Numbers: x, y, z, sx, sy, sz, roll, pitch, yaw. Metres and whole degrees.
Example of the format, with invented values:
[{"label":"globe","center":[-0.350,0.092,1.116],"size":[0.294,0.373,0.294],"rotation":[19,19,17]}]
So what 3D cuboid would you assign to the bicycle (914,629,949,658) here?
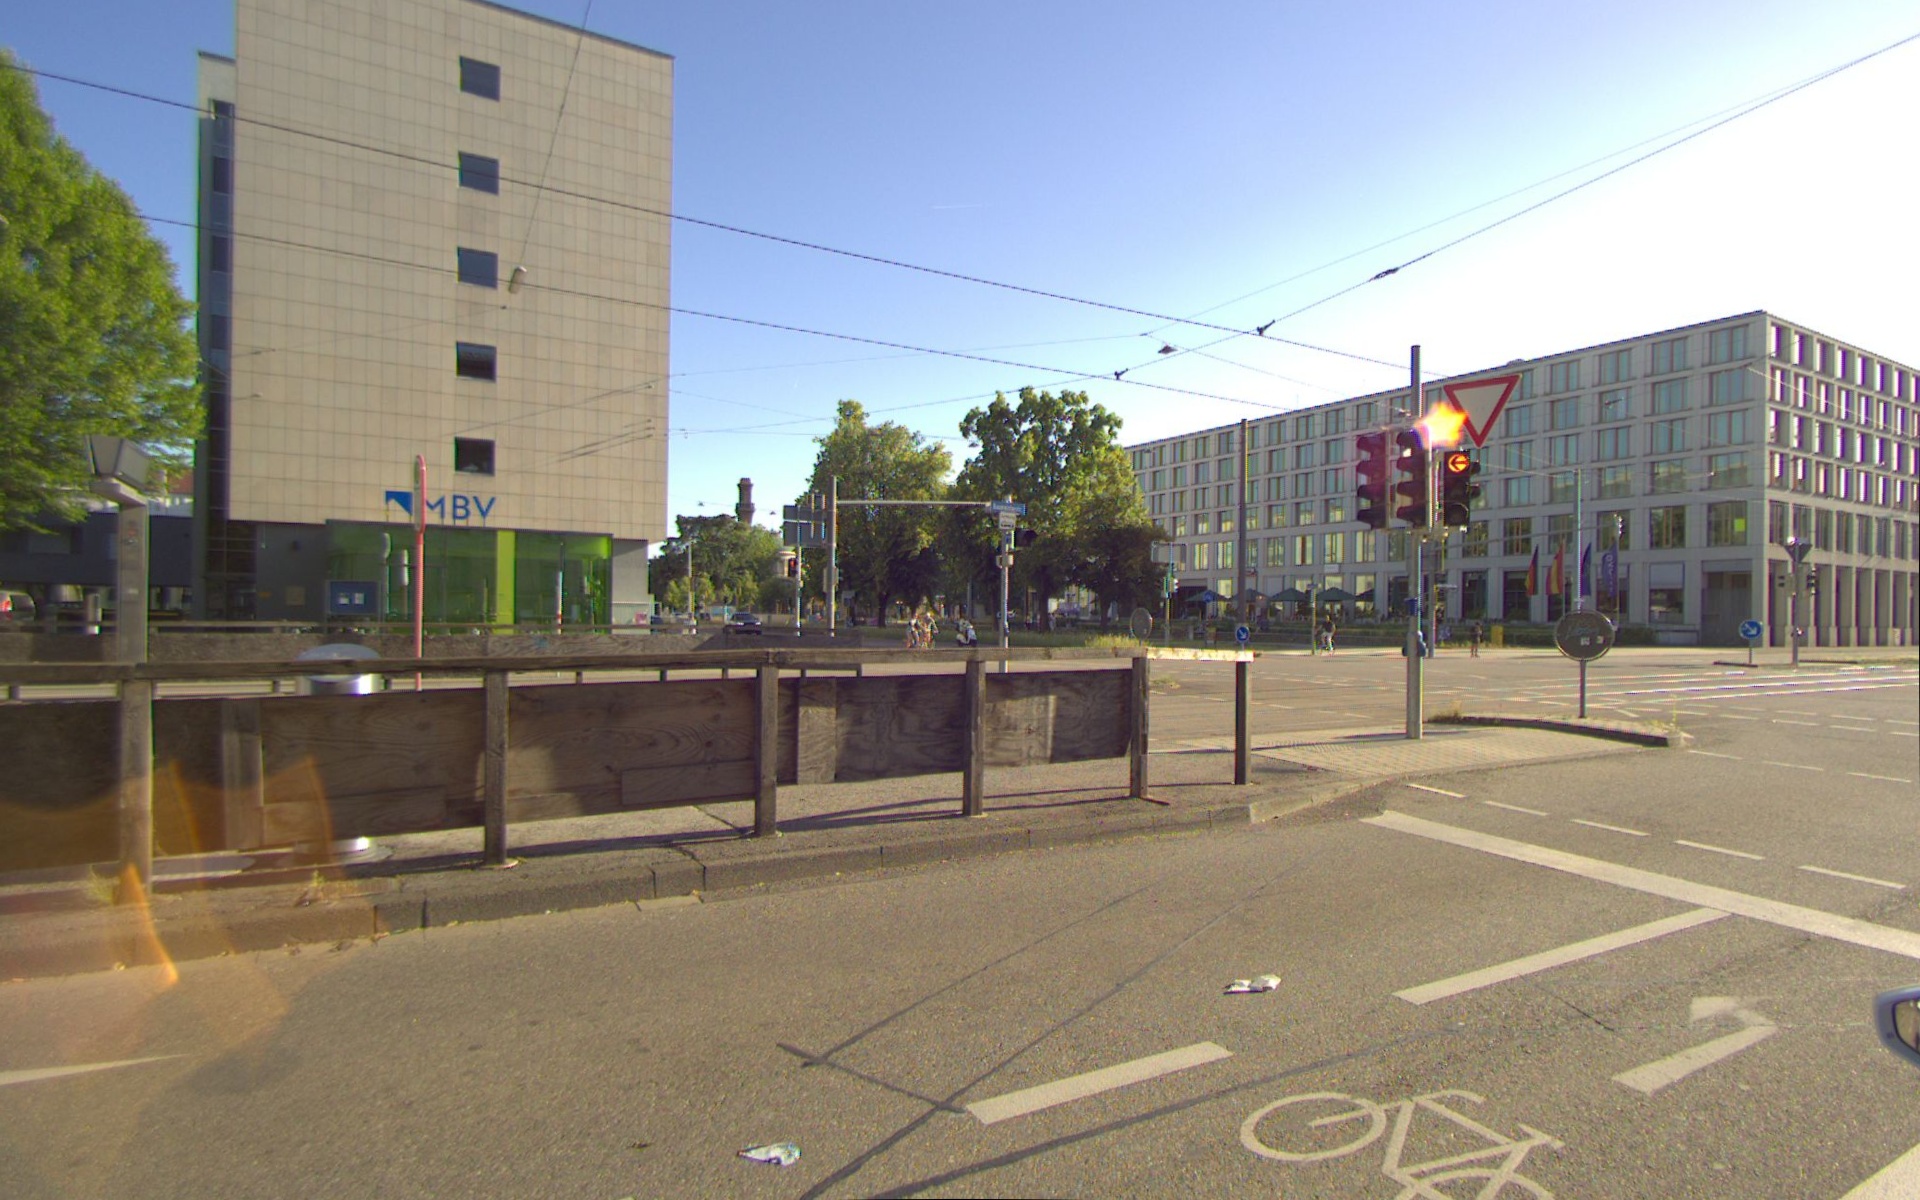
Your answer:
[{"label":"bicycle","center":[-1.221,1.820,42.131],"size":[0.616,1.148,1.869],"rotation":[1,-1,-31]}]

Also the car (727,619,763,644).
[{"label":"car","center":[-15.758,2.290,73.622],"size":[1.611,1.639,3.623],"rotation":[2,0,-28]}]

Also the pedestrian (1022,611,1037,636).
[{"label":"pedestrian","center":[5.506,1.845,79.558],"size":[0.864,1.925,0.713],"rotation":[2,0,-28]}]

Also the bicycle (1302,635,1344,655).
[{"label":"bicycle","center":[17.861,2.217,49.436],"size":[1.833,0.947,0.760],"rotation":[1,-1,-17]}]

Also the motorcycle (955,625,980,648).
[{"label":"motorcycle","center":[0.386,1.846,51.213],"size":[0.524,1.153,1.449],"rotation":[1,-1,-34]}]

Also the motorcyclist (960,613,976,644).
[{"label":"motorcyclist","center":[0.420,1.459,51.202],"size":[0.561,1.598,0.643],"rotation":[1,-1,-33]}]

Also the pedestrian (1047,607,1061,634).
[{"label":"pedestrian","center":[7.472,1.617,79.695],"size":[0.812,2.040,0.841],"rotation":[2,0,-20]}]

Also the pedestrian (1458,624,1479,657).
[{"label":"pedestrian","center":[24.895,1.984,49.177],"size":[0.587,1.610,0.767],"rotation":[1,-1,-43]}]

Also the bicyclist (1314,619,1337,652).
[{"label":"bicyclist","center":[17.980,1.750,49.459],"size":[0.764,1.610,0.760],"rotation":[1,-1,-13]}]

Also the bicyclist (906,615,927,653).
[{"label":"bicyclist","center":[-1.812,1.394,41.686],"size":[0.647,1.544,0.615],"rotation":[1,-1,-32]}]

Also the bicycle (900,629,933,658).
[{"label":"bicycle","center":[-1.834,1.790,41.709],"size":[0.574,1.148,1.776],"rotation":[1,-1,-31]}]

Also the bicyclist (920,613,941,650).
[{"label":"bicyclist","center":[-1.256,1.333,42.211],"size":[0.602,1.544,0.709],"rotation":[1,-1,-32]}]
